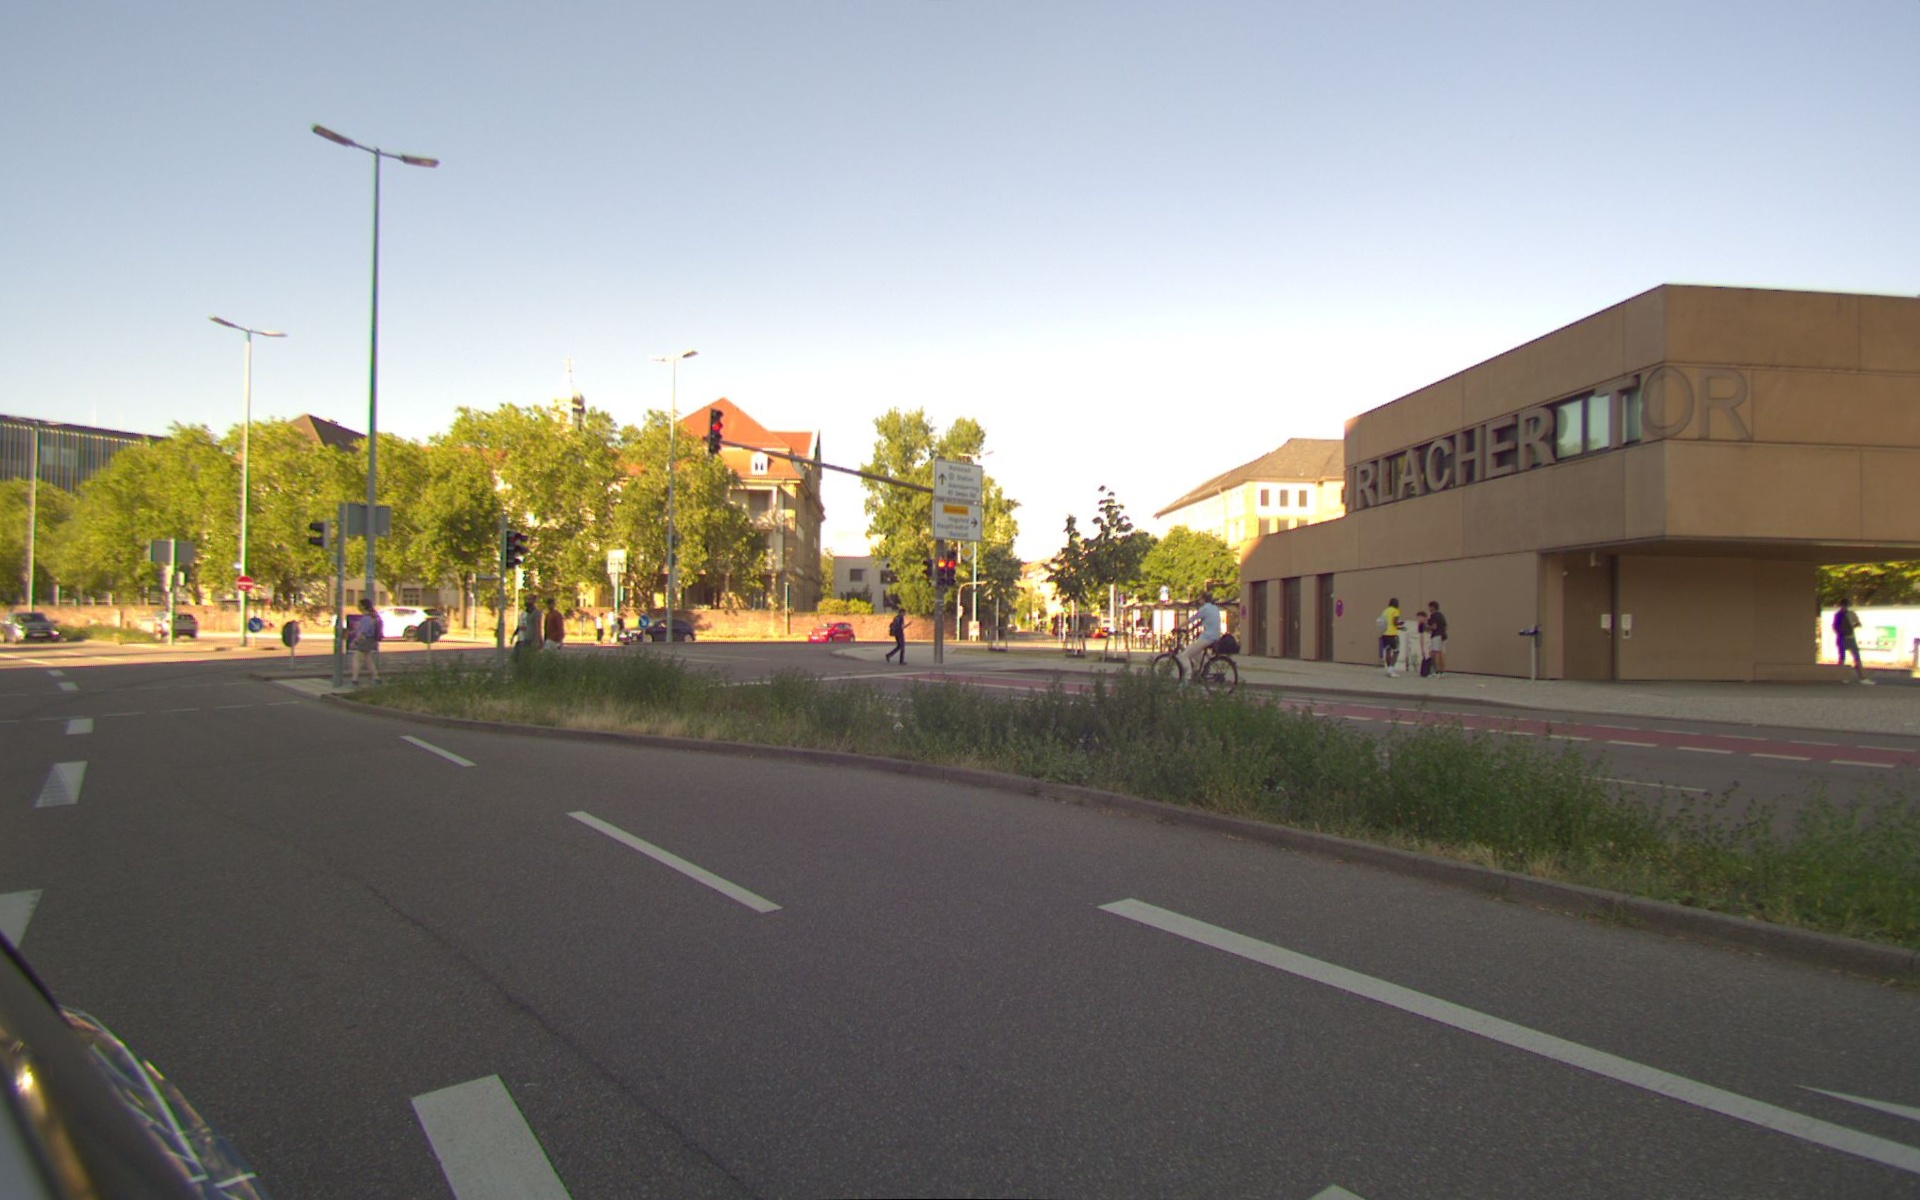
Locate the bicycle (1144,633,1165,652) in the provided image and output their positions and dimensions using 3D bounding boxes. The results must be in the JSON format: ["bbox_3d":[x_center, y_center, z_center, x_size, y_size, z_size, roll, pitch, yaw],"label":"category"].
[{"bbox_3d":[11.363,2.491,59.147,0.672,1.062,2.024,-1,-1,-4],"label":"bicycle"}]

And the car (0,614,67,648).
[{"bbox_3d":[-44.047,1.460,47.879,4.011,1.530,1.901,-1,-2,37],"label":"car"}]

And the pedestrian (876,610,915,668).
[{"bbox_3d":[-1.948,1.166,30.445,0.886,1.697,0.749,2,-3,-41],"label":"pedestrian"}]

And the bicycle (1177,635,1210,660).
[{"bbox_3d":[10.923,2.214,47.487,0.733,1.114,2.128,-1,-3,-9],"label":"bicycle"}]

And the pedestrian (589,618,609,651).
[{"bbox_3d":[-19.579,1.865,54.937,0.857,1.686,0.715,2,1,-29],"label":"pedestrian"}]

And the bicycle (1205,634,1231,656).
[{"bbox_3d":[13.077,2.295,51.355,0.595,1.051,2.036,-1,-1,-4],"label":"bicycle"}]

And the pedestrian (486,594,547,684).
[{"bbox_3d":[-8.922,0.779,20.358,0.913,1.754,0.758,2,-2,-41],"label":"pedestrian"}]

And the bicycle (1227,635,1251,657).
[{"bbox_3d":[14.177,2.305,51.418,0.595,1.051,2.034,-1,-1,-1],"label":"bicycle"}]

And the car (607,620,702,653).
[{"bbox_3d":[-15.875,1.897,52.809,2.184,1.598,4.564,-3,-3,27],"label":"car"}]

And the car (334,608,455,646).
[{"bbox_3d":[-26.868,1.299,48.215,4.535,1.697,2.198,-1,-3,-6],"label":"car"}]

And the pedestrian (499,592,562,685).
[{"bbox_3d":[-8.369,0.737,19.738,0.913,1.754,0.758,2,-2,-41],"label":"pedestrian"}]

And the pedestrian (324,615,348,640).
[{"bbox_3d":[-39.915,1.767,64.725,0.920,1.548,0.963,-1,-2,34],"label":"pedestrian"}]

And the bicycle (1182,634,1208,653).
[{"bbox_3d":[13.843,2.555,59.667,0.825,1.062,2.122,-1,-1,-7],"label":"bicycle"}]

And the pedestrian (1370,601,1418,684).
[{"bbox_3d":[9.883,0.960,23.037,0.706,1.849,0.641,0,-3,-30],"label":"pedestrian"}]

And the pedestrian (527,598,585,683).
[{"bbox_3d":[-8.599,0.853,21.538,0.913,1.754,0.789,2,-2,-41],"label":"pedestrian"}]

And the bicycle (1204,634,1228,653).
[{"bbox_3d":[15.121,2.555,59.822,0.503,1.062,1.978,-1,-1,-12],"label":"bicycle"}]

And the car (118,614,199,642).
[{"bbox_3d":[-48.540,1.701,61.308,4.337,1.632,2.138,0,-2,25],"label":"car"}]

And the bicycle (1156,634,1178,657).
[{"bbox_3d":[10.538,2.293,51.603,0.558,1.114,1.975,-1,-1,-5],"label":"bicycle"}]

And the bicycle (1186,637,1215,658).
[{"bbox_3d":[12.722,2.516,53.657,0.852,1.051,1.935,-1,-1,-7],"label":"bicycle"}]

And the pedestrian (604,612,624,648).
[{"bbox_3d":[-19.118,1.669,55.911,0.857,1.908,0.715,2,1,-29],"label":"pedestrian"}]

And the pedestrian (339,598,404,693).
[{"bbox_3d":[-11.223,0.851,19.302,0.913,1.754,0.758,2,-2,-41],"label":"pedestrian"}]

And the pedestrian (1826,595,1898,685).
[{"bbox_3d":[20.488,0.911,23.006,0.966,1.997,0.719,1,-3,-5],"label":"pedestrian"}]

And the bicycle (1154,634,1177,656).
[{"bbox_3d":[10.780,2.355,53.110,0.477,1.114,1.805,-1,-1,-11],"label":"bicycle"}]

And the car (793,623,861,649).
[{"bbox_3d":[-8.616,2.355,65.955,2.184,1.598,4.564,-3,-3,27],"label":"car"}]

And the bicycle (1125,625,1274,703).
[{"bbox_3d":[4.233,1.098,18.078,2.555,1.265,0.732,0,-1,41],"label":"bicycle"}]

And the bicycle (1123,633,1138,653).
[{"bbox_3d":[9.885,2.484,58.747,0.559,1.062,1.973,-1,-1,0],"label":"bicycle"}]

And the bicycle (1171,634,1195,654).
[{"bbox_3d":[12.558,2.452,57.133,0.747,1.062,1.975,-1,-1,-5],"label":"bicycle"}]

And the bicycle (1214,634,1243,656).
[{"bbox_3d":[14.168,2.365,53.475,0.755,1.051,1.935,-1,-1,-7],"label":"bicycle"}]

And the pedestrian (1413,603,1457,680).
[{"bbox_3d":[10.723,0.941,22.858,0.628,1.702,0.551,0,-3,-17],"label":"pedestrian"}]

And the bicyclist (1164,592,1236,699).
[{"bbox_3d":[4.280,0.793,18.043,1.013,1.846,0.732,0,-1,41],"label":"bicyclist"}]

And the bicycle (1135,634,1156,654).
[{"bbox_3d":[10.451,2.470,57.079,0.558,1.062,1.976,-1,-1,-7],"label":"bicycle"}]

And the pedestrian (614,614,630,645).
[{"bbox_3d":[-19.058,1.652,57.079,0.780,1.665,0.715,3,1,-14],"label":"pedestrian"}]

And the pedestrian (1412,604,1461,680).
[{"bbox_3d":[11.207,0.997,23.809,0.725,1.744,0.665,-1,-3,-6],"label":"pedestrian"}]
